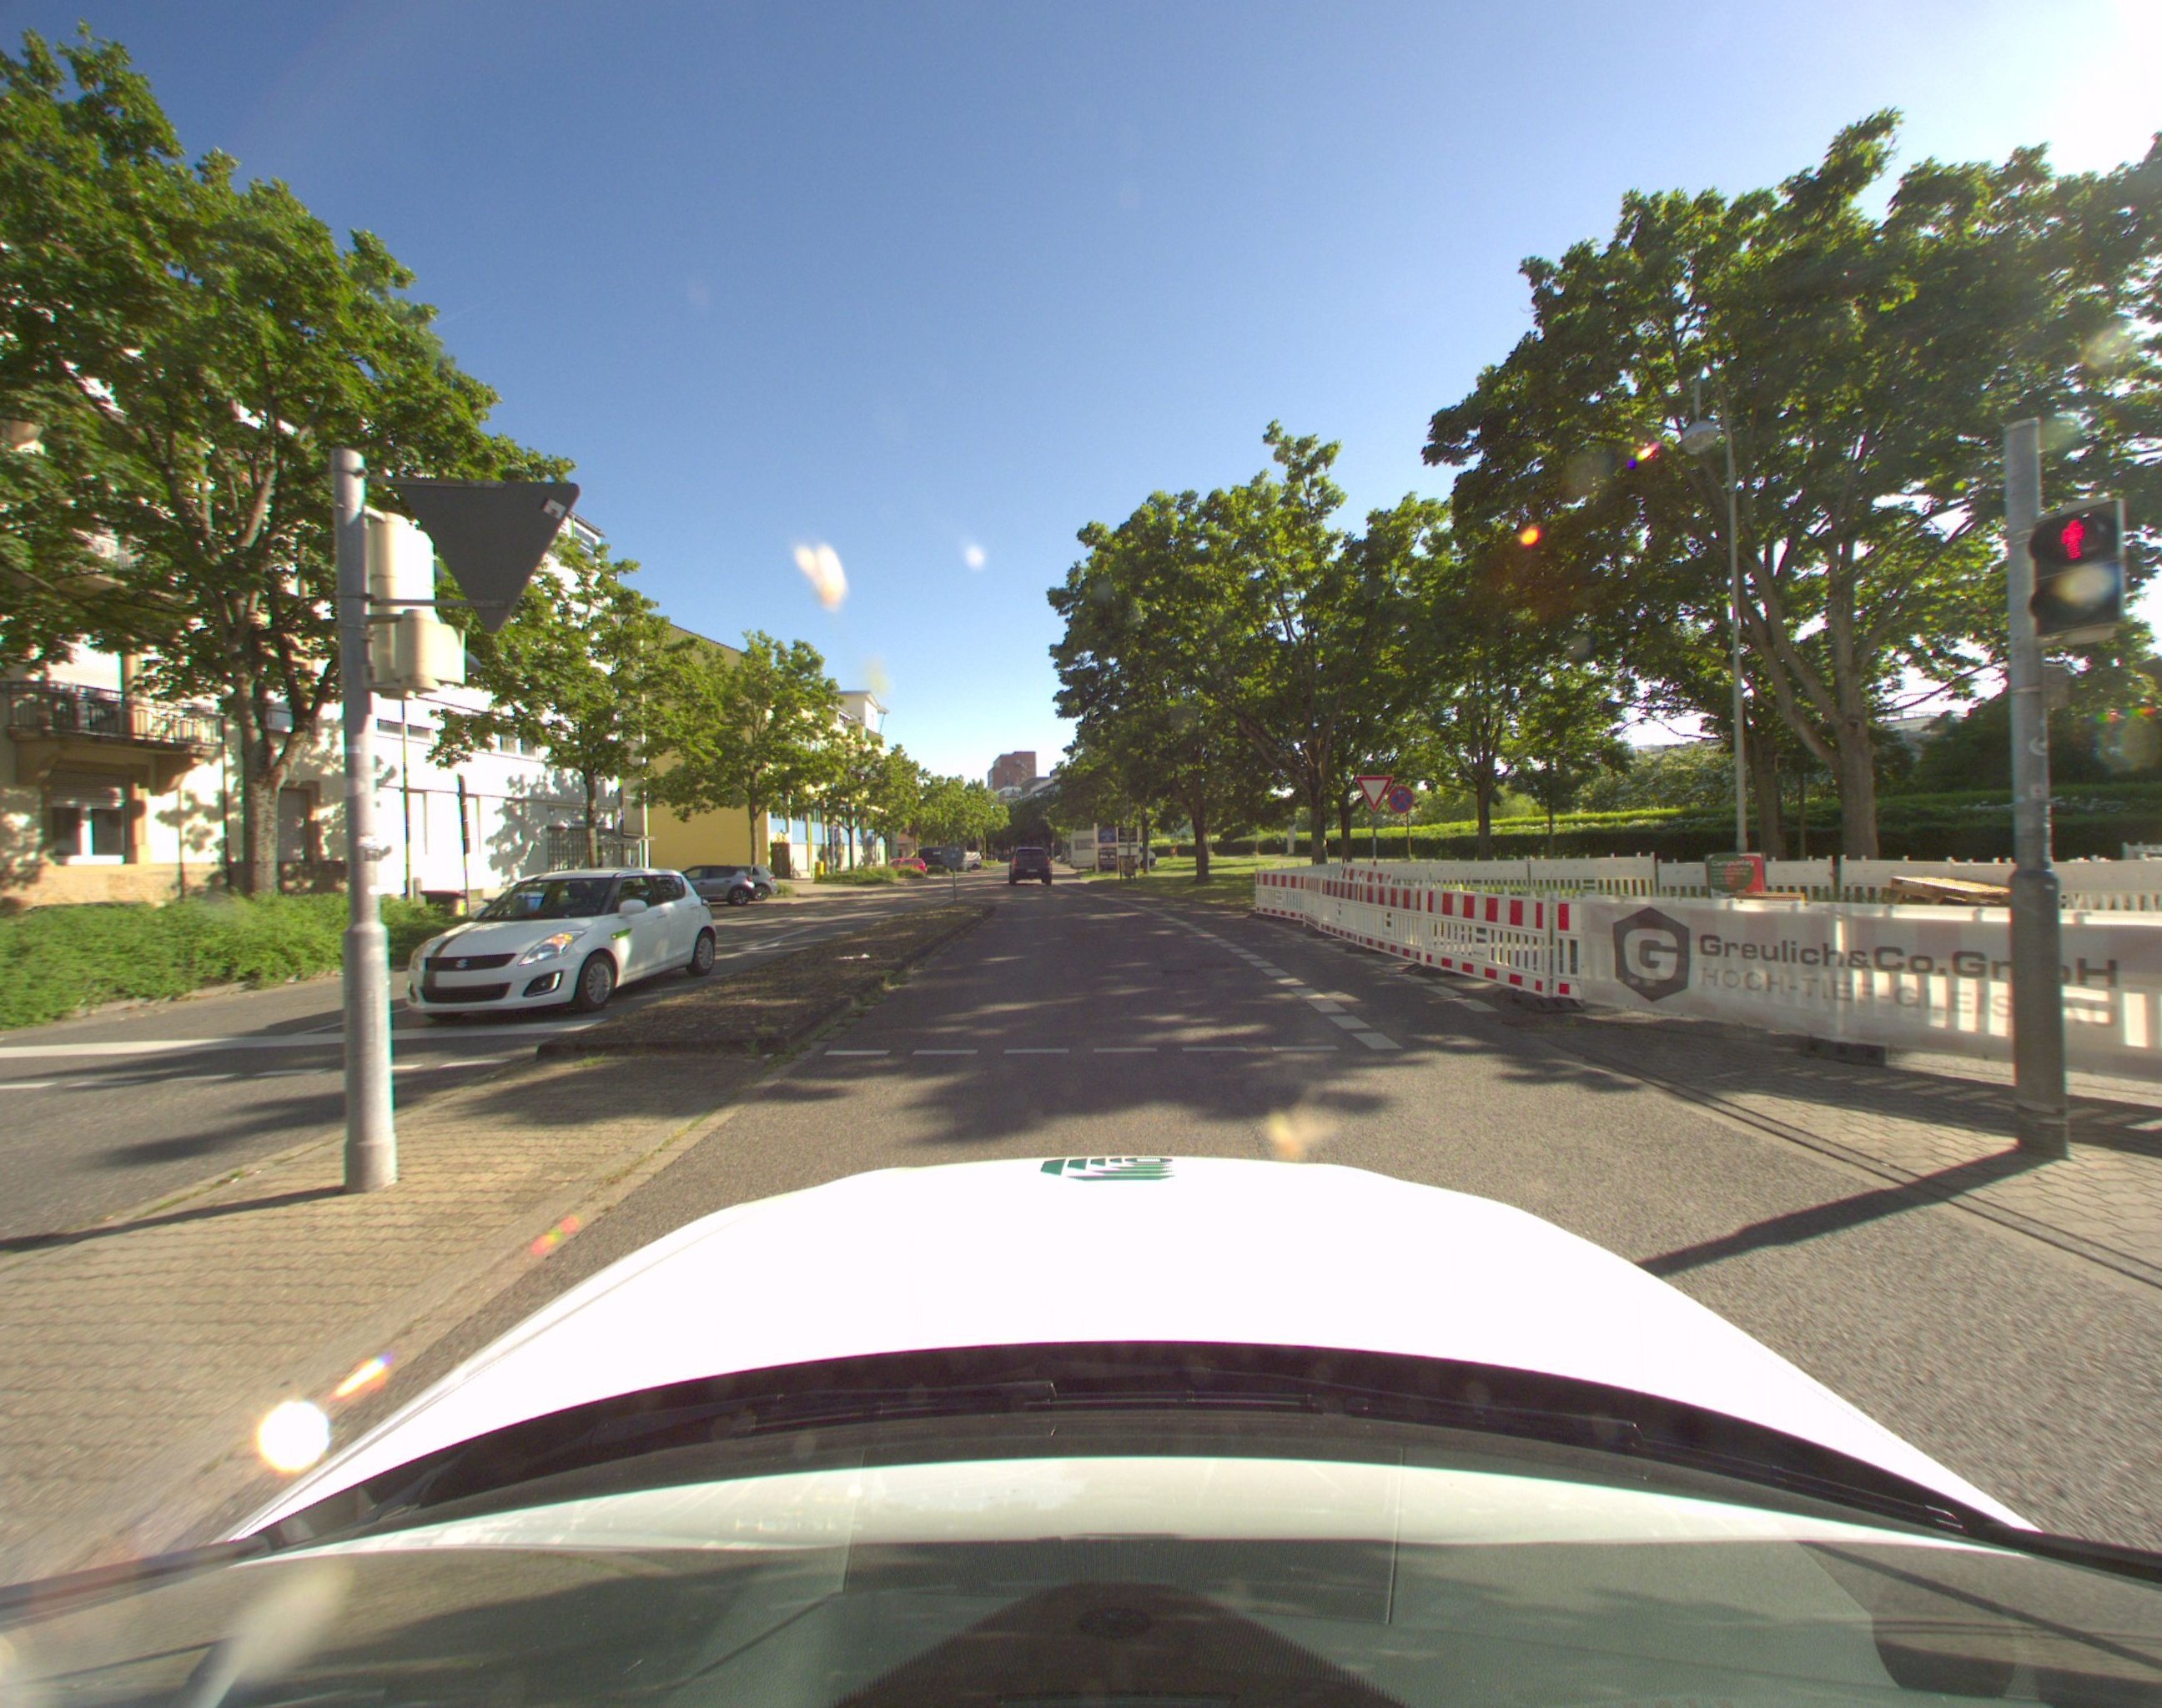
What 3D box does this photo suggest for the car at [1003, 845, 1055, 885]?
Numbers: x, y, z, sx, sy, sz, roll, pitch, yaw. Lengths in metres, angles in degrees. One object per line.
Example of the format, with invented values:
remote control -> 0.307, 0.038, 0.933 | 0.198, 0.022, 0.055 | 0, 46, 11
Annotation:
car -> -2.681, 0.511, 40.903 | 2.132, 1.835, 4.925 | -2, 1, -9

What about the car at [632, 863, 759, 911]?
car -> -13.785, 1.135, 29.192 | 3.901, 1.510, 1.809 | -1, -1, -33

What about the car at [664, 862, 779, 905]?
car -> -14.145, 1.140, 32.097 | 3.900, 1.510, 1.809 | -1, -1, -33

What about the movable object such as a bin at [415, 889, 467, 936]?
movable object such as a bin -> -13.153, 1.190, 16.748 | 0.511, 0.913, 0.640 | -1, 0, 9

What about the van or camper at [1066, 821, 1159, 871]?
van or camper -> 2.123, -0.534, 55.960 | 6.063, 2.928, 2.573 | -4, 0, -2

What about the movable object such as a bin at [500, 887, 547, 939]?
movable object such as a bin -> -11.831, 1.237, 17.298 | 0.511, 1.047, 0.640 | -1, 0, 9

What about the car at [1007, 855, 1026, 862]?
car -> -13.898, 0.988, 176.286 | 3.947, 1.397, 1.511 | -4, 0, -10

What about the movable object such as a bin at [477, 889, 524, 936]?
movable object such as a bin -> -12.612, 1.270, 17.706 | 0.511, 0.976, 0.640 | -1, 0, 9

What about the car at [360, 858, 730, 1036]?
car -> -5.881, 0.885, 9.600 | 1.699, 1.512, 3.862 | -3, 1, 0

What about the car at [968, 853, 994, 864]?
car -> -15.083, 0.693, 122.723 | 3.884, 1.365, 1.405 | -4, 0, -10

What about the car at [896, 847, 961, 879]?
car -> -13.549, 0.779, 72.506 | 5.289, 2.545, 1.968 | -2, 0, -26

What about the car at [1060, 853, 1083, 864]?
car -> -1.351, 0.629, 118.905 | 3.236, 1.277, 1.515 | -4, 0, -3

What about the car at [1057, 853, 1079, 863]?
car -> -2.021, 0.626, 123.080 | 3.236, 1.277, 1.515 | -4, 0, -3

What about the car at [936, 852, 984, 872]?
car -> -13.467, 0.902, 90.663 | 4.921, 2.083, 1.964 | -2, 0, -36

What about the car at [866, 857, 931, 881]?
car -> -13.848, 1.130, 61.775 | 4.430, 1.552, 1.905 | -2, 0, -26

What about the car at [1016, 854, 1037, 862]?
car -> -11.232, 0.805, 167.630 | 3.947, 1.397, 1.511 | -4, 0, -10
